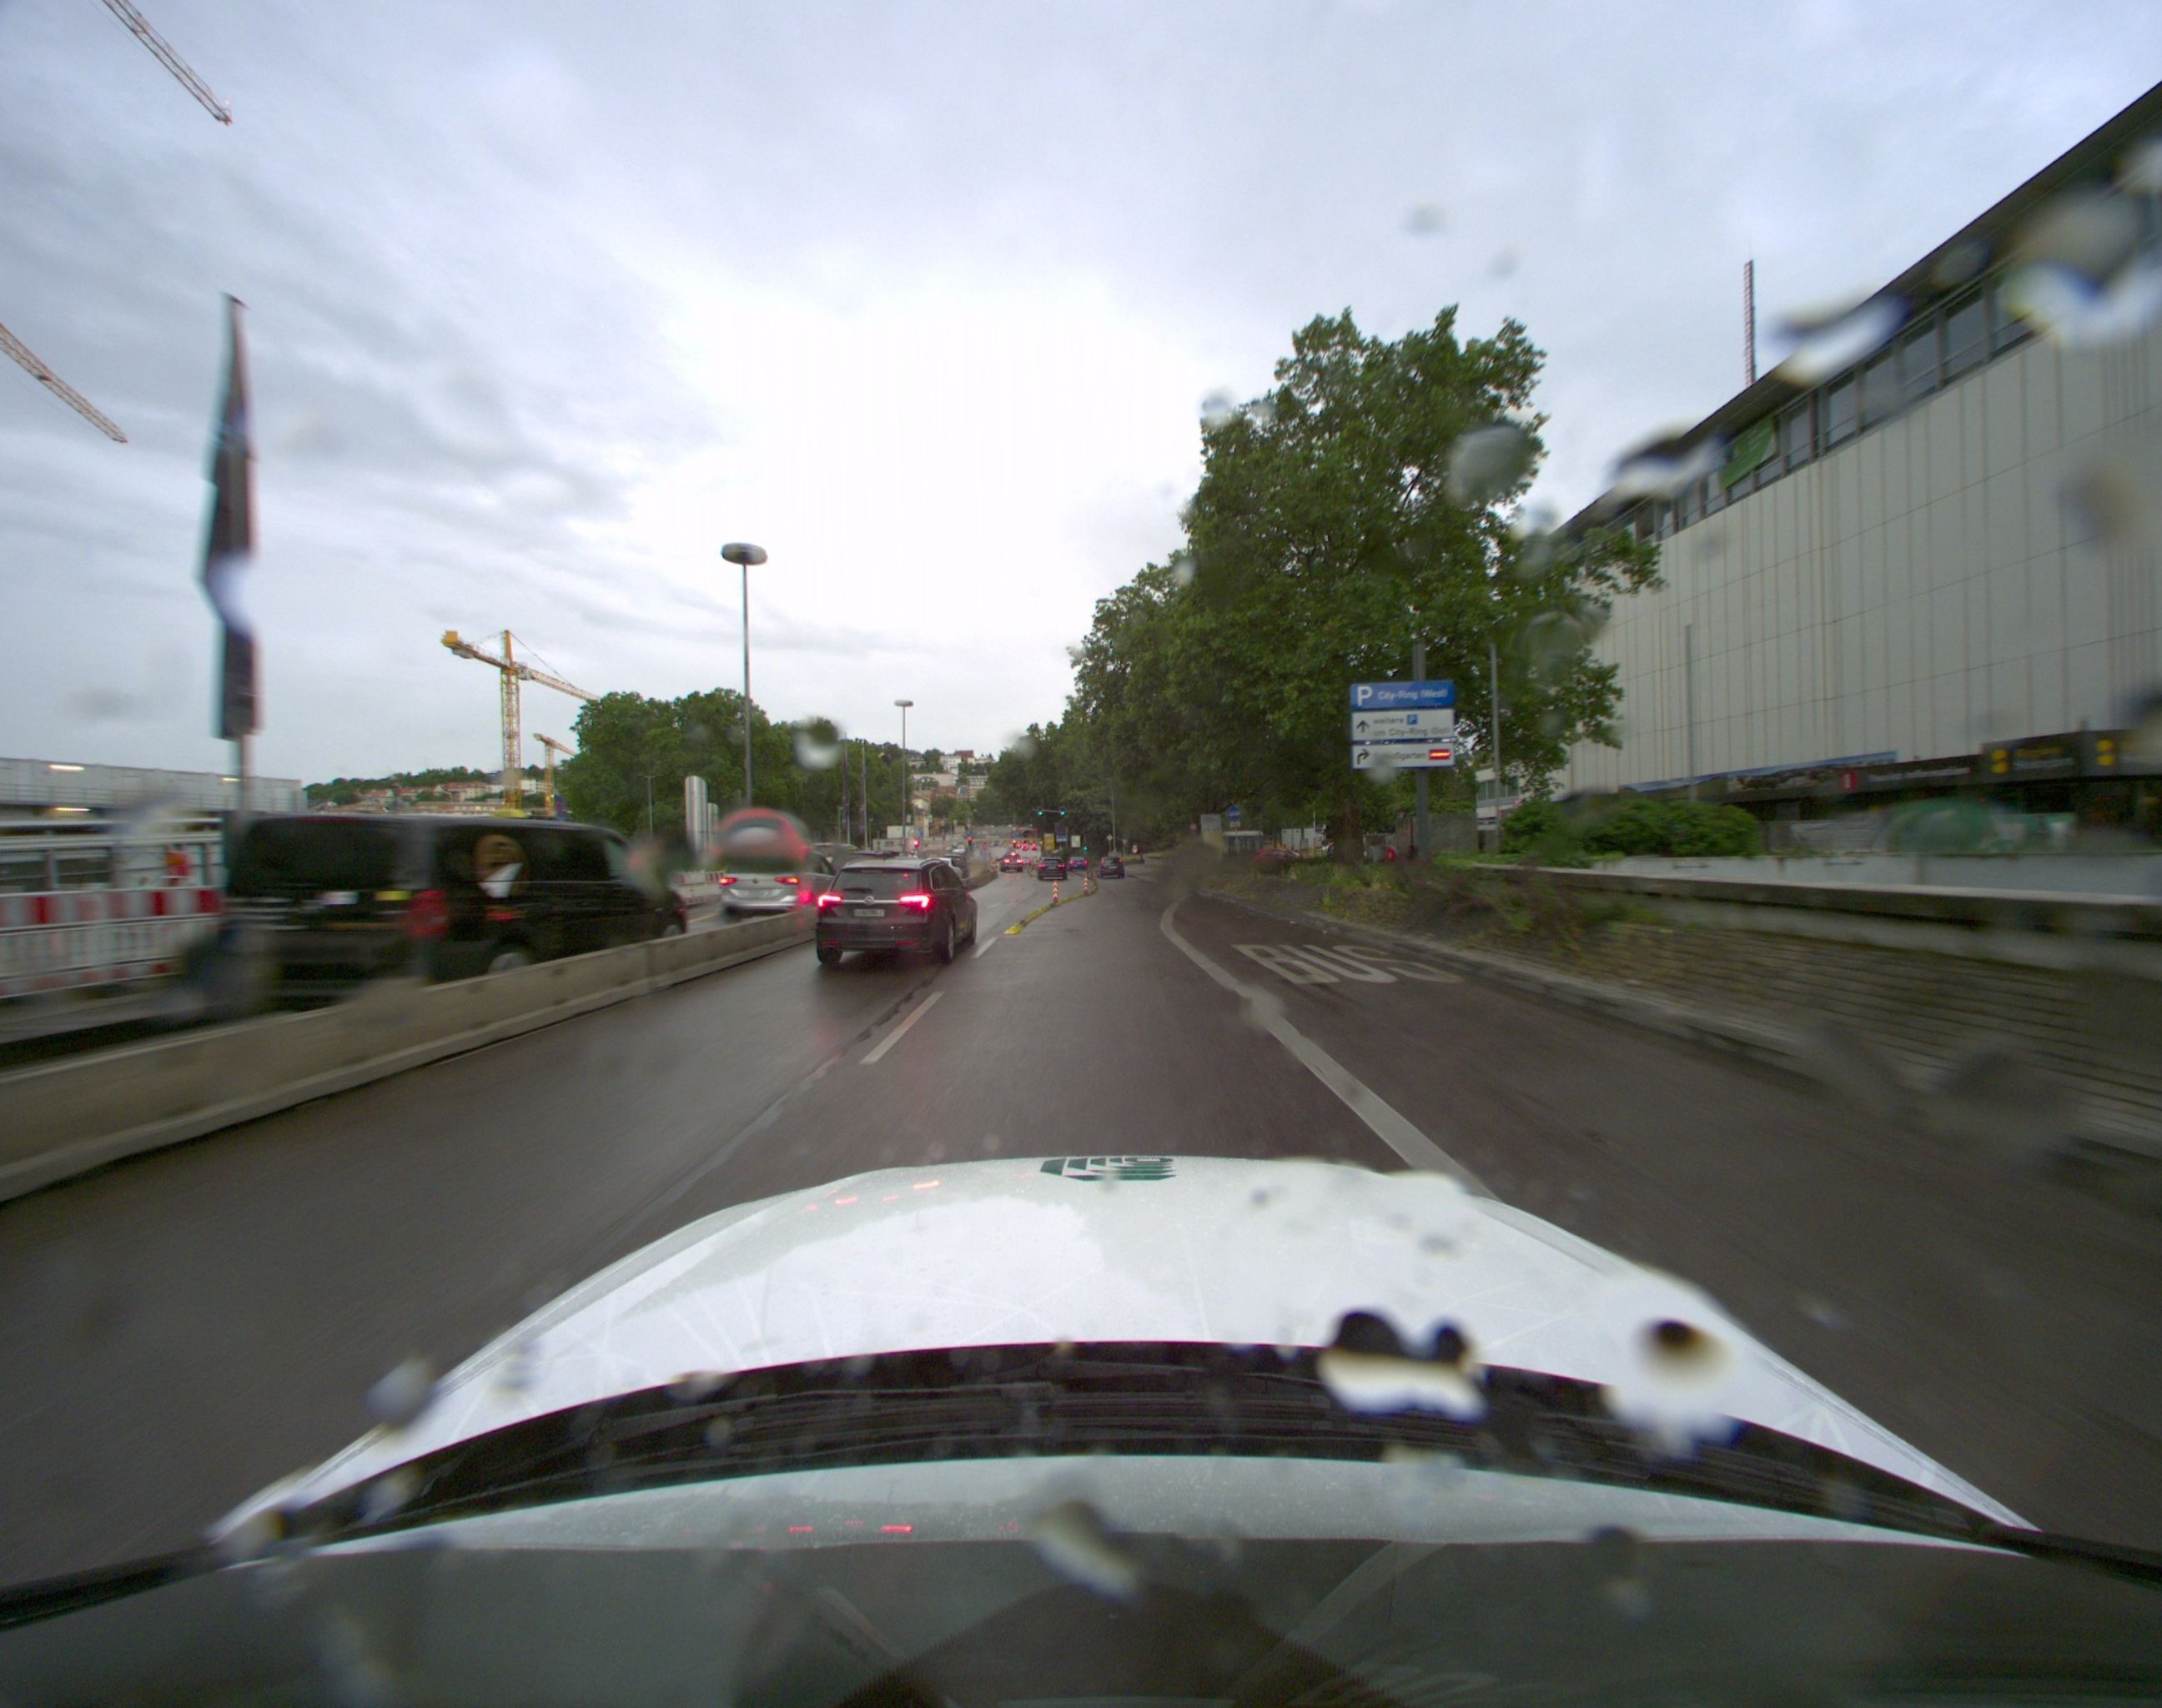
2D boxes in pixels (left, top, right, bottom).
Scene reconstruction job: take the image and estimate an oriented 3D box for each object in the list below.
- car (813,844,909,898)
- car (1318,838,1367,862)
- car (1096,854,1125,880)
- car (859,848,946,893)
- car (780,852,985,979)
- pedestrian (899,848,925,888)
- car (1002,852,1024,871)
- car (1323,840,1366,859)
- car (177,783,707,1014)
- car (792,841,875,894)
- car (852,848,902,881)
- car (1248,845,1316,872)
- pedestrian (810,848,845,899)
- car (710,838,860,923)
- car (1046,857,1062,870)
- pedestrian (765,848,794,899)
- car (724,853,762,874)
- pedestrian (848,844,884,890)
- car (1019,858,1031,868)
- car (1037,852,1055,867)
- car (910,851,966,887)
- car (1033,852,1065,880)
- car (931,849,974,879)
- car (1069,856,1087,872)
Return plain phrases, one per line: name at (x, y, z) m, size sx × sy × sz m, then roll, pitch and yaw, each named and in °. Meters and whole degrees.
car at (-6.631, 0.491, 25.018) m, size 1.819 × 1.511 × 4.487 m, roll 0°, pitch 0°, yaw -2°
car at (22.478, -0.329, 69.847) m, size 4.675 × 2.014 × 2.107 m, roll 0°, pitch -1°, yaw -45°
car at (1.971, 0.848, 55.736) m, size 1.846 × 1.717 × 4.000 m, roll 0°, pitch -1°, yaw 0°
car at (-6.472, 0.580, 30.161) m, size 1.965 × 1.511 × 5.007 m, roll 0°, pitch 0°, yaw 2°
car at (-2.702, 0.748, 12.333) m, size 1.871 × 1.508 × 4.851 m, roll -1°, pitch 0°, yaw 0°
pedestrian at (-8.761, 0.714, 42.171) m, size 1.017 × 2.013 × 0.839 m, roll -1°, pitch 0°, yaw 14°
car at (-6.782, 0.708, 80.609) m, size 1.992 × 1.827 × 3.989 m, roll 0°, pitch -1°, yaw -8°
car at (25.485, -0.370, 78.643) m, size 4.479 × 1.781 × 1.927 m, roll 0°, pitch -1°, yaw -42°
car at (-6.293, 0.373, 9.087) m, size 1.988 × 1.845 × 5.059 m, roll 0°, pitch 0°, yaw -2°
car at (-10.108, 0.547, 33.729) m, size 1.989 × 2.014 × 5.364 m, roll 0°, pitch -1°, yaw -3°
car at (-10.725, 0.538, 43.064) m, size 1.710 × 1.629 × 4.052 m, roll 0°, pitch 0°, yaw -2°
car at (11.938, 0.279, 48.444) m, size 3.573 × 1.506 × 1.745 m, roll -1°, pitch -1°, yaw 41°
pedestrian at (-8.949, 0.672, 28.822) m, size 0.830 × 1.784 × 1.029 m, roll -1°, pitch 0°, yaw 4°
car at (-6.591, 0.553, 18.779) m, size 1.819 × 1.696 × 4.770 m, roll 0°, pitch 0°, yaw -2°
car at (-3.670, 1.288, 111.328) m, size 1.635 × 1.624 × 3.782 m, roll 0°, pitch -1°, yaw -10°
pedestrian at (-10.521, 0.677, 28.424) m, size 0.631 × 1.753 × 0.823 m, roll 0°, pitch -1°, yaw 5°
car at (-45.030, 1.247, 108.586) m, size 2.374 × 2.702 × 5.792 m, roll -3°, pitch 0°, yaw 2°
pedestrian at (-8.015, 0.487, 30.377) m, size 1.020 × 1.675 × 0.837 m, roll -1°, pitch 0°, yaw 4°
car at (-9.423, 1.476, 137.413) m, size 1.813 × 1.574 × 3.988 m, roll 0°, pitch -1°, yaw -8°
car at (-3.938, 0.624, 92.271) m, size 1.897 × 1.717 × 4.000 m, roll 0°, pitch -1°, yaw 0°
car at (-7.017, 0.721, 40.490) m, size 1.988 × 1.567 × 4.872 m, roll -3°, pitch 0°, yaw -2°
car at (-2.031, 0.736, 52.816) m, size 1.824 × 1.686 × 4.134 m, roll -1°, pitch 0°, yaw 1°
car at (-7.210, 0.533, 46.107) m, size 1.990 × 1.530 × 4.146 m, roll -3°, pitch 0°, yaw -4°
car at (-0.254, 0.995, 81.764) m, size 1.668 × 1.581 × 3.241 m, roll 0°, pitch -1°, yaw 2°
